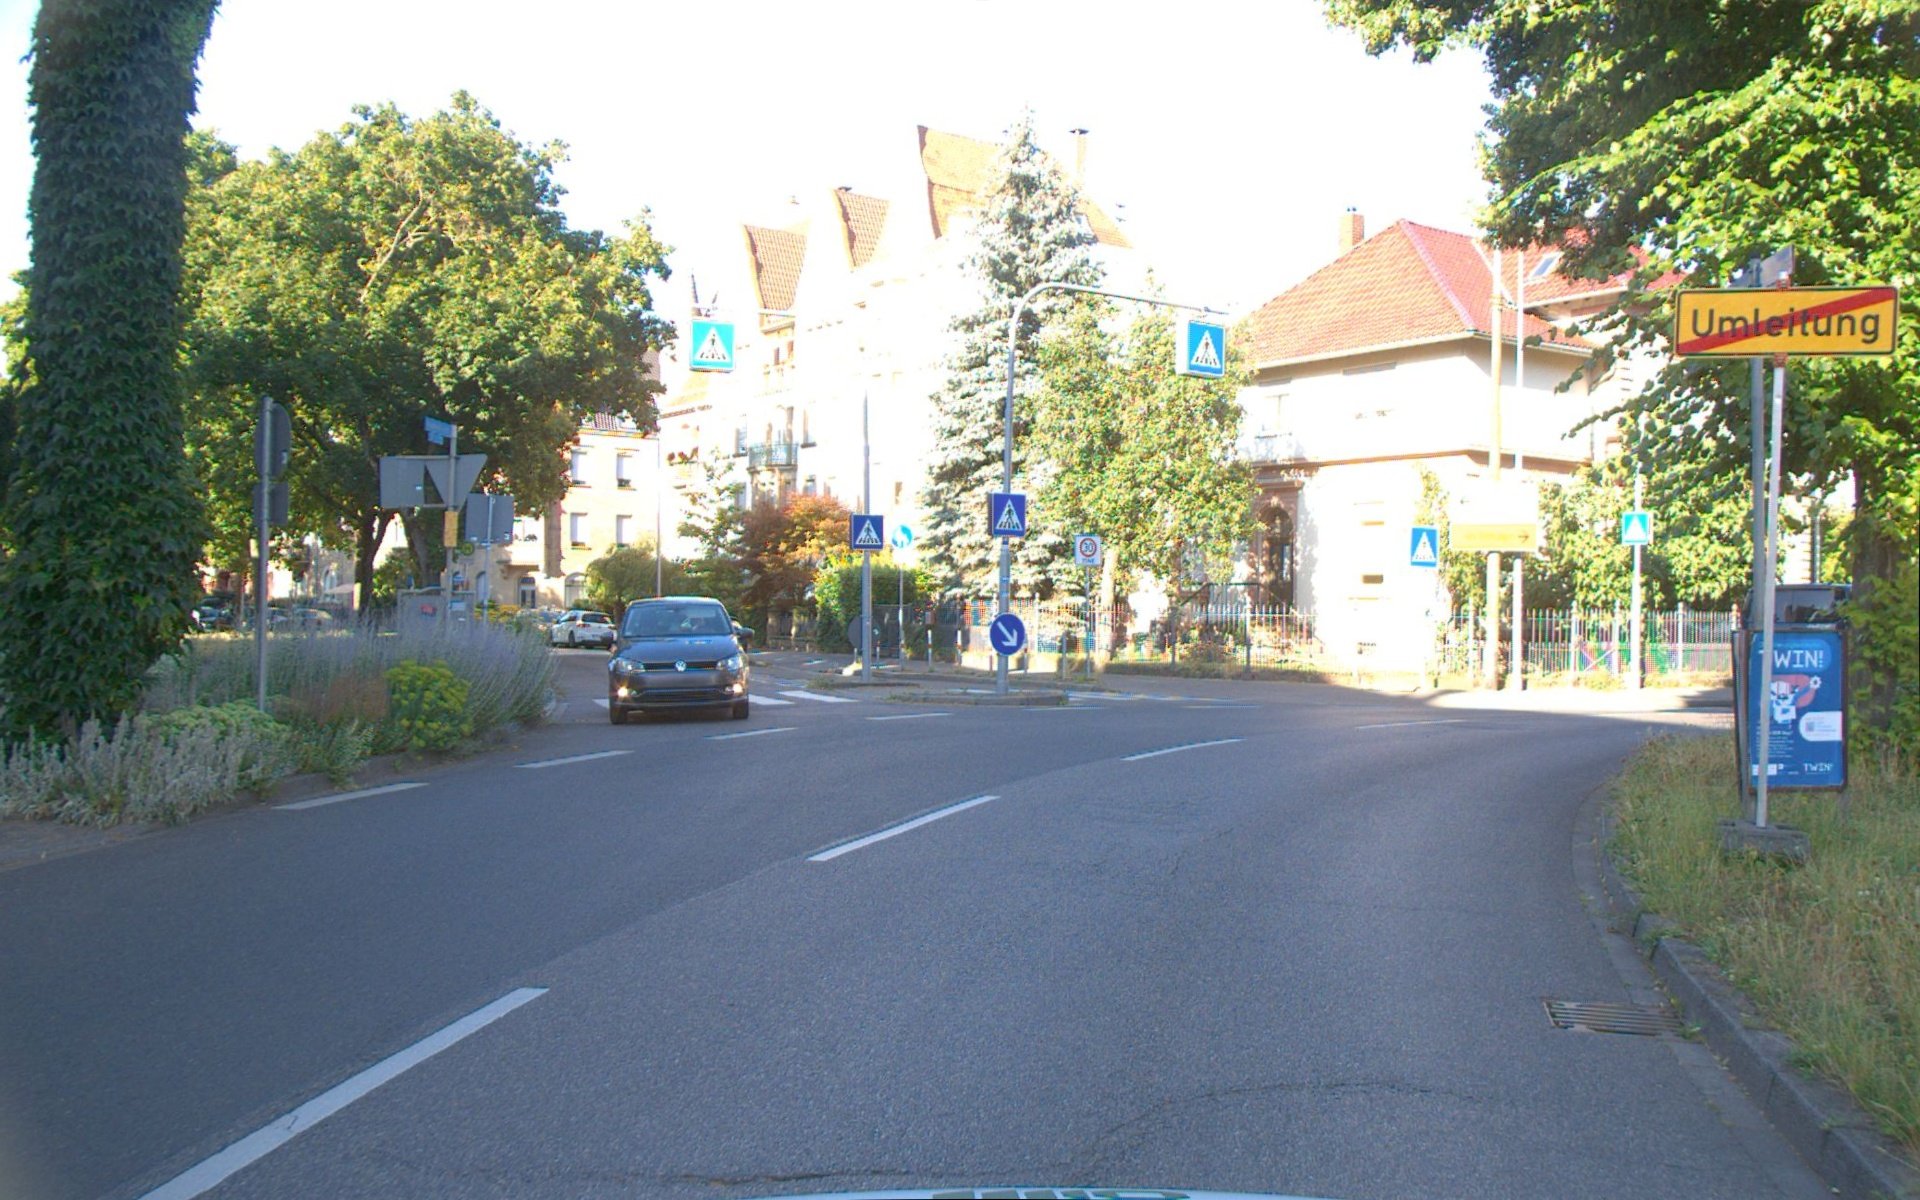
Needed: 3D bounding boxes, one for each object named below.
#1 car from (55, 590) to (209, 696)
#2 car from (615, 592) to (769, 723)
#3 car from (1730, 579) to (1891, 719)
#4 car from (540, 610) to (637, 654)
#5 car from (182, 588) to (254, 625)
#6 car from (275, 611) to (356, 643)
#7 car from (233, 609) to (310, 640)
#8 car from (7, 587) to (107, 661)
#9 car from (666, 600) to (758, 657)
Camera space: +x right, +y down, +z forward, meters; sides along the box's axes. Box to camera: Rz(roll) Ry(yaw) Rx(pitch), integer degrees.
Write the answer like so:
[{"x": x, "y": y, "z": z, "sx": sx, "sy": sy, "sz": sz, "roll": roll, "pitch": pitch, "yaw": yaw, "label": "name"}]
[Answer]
[{"x": -13.307, "y": 0.650, "z": 26.470, "sx": 1.791, "sy": 1.563, "sz": 3.866, "roll": 2, "pitch": -1, "yaw": -33, "label": "car"}, {"x": -3.380, "y": 0.644, "z": 20.414, "sx": 1.682, "sy": 1.428, "sz": 3.727, "roll": -1, "pitch": 0, "yaw": -12, "label": "car"}, {"x": 13.780, "y": 0.739, "z": 26.692, "sx": 1.958, "sy": 2.049, "sz": 3.989, "roll": 1, "pitch": 0, "yaw": 32, "label": "car"}, {"x": -14.562, "y": 1.236, "z": 64.639, "sx": 2.315, "sy": 1.624, "sz": 4.879, "roll": 2, "pitch": -1, "yaw": -30, "label": "car"}, {"x": -43.579, "y": 0.370, "z": 97.095, "sx": 2.330, "sy": 2.076, "sz": 4.848, "roll": 2, "pitch": -1, "yaw": -44, "label": "car"}, {"x": -34.572, "y": 1.434, "z": 88.663, "sx": 2.330, "sy": 1.624, "sz": 4.848, "roll": 2, "pitch": -1, "yaw": -44, "label": "car"}, {"x": -38.541, "y": 1.347, "z": 92.493, "sx": 2.330, "sy": 1.624, "sz": 4.848, "roll": 2, "pitch": -1, "yaw": -44, "label": "car"}, {"x": -22.164, "y": 0.572, "z": 40.513, "sx": 1.916, "sy": 1.692, "sz": 4.461, "roll": 2, "pitch": -1, "yaw": -31, "label": "car"}, {"x": -7.576, "y": 0.853, "z": 50.216, "sx": 1.964, "sy": 1.624, "sz": 3.976, "roll": 2, "pitch": -1, "yaw": -20, "label": "car"}]
